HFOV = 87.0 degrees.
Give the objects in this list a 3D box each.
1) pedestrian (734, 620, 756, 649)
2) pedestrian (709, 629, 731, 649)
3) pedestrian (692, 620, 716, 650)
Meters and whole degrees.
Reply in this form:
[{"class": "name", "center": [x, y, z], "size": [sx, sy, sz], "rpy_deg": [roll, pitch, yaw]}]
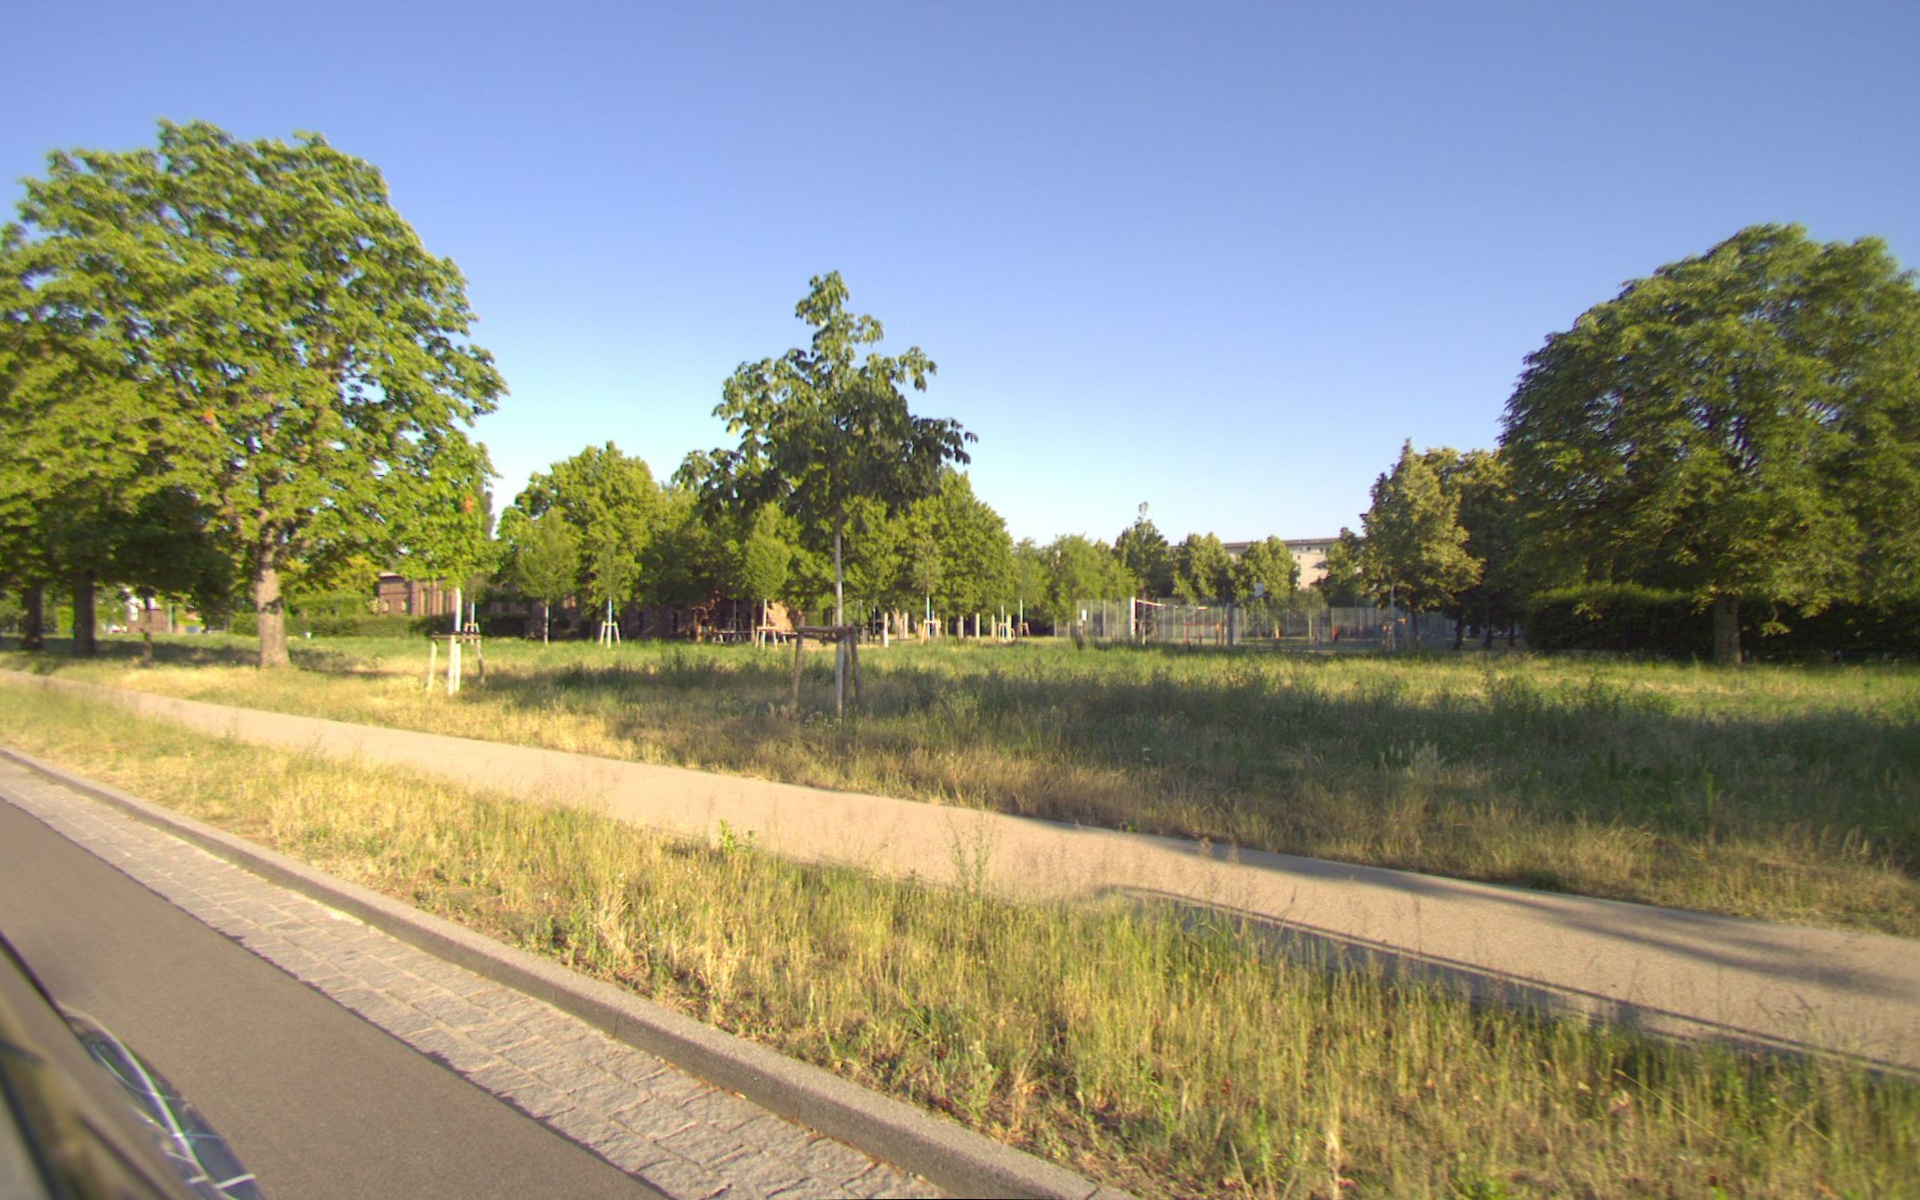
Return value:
[{"class": "pedestrian", "center": [-14.238, 2.299, 67.028], "size": [1.099, 1.877, 0.984], "rpy_deg": [1, -2, -44]}, {"class": "pedestrian", "center": [-16.236, 2.617, 68.509], "size": [0.980, 1.305, 1.104], "rpy_deg": [-1, -2, 30]}, {"class": "pedestrian", "center": [-16.247, 2.237, 64.251], "size": [1.099, 1.877, 0.984], "rpy_deg": [1, -2, -44]}]
